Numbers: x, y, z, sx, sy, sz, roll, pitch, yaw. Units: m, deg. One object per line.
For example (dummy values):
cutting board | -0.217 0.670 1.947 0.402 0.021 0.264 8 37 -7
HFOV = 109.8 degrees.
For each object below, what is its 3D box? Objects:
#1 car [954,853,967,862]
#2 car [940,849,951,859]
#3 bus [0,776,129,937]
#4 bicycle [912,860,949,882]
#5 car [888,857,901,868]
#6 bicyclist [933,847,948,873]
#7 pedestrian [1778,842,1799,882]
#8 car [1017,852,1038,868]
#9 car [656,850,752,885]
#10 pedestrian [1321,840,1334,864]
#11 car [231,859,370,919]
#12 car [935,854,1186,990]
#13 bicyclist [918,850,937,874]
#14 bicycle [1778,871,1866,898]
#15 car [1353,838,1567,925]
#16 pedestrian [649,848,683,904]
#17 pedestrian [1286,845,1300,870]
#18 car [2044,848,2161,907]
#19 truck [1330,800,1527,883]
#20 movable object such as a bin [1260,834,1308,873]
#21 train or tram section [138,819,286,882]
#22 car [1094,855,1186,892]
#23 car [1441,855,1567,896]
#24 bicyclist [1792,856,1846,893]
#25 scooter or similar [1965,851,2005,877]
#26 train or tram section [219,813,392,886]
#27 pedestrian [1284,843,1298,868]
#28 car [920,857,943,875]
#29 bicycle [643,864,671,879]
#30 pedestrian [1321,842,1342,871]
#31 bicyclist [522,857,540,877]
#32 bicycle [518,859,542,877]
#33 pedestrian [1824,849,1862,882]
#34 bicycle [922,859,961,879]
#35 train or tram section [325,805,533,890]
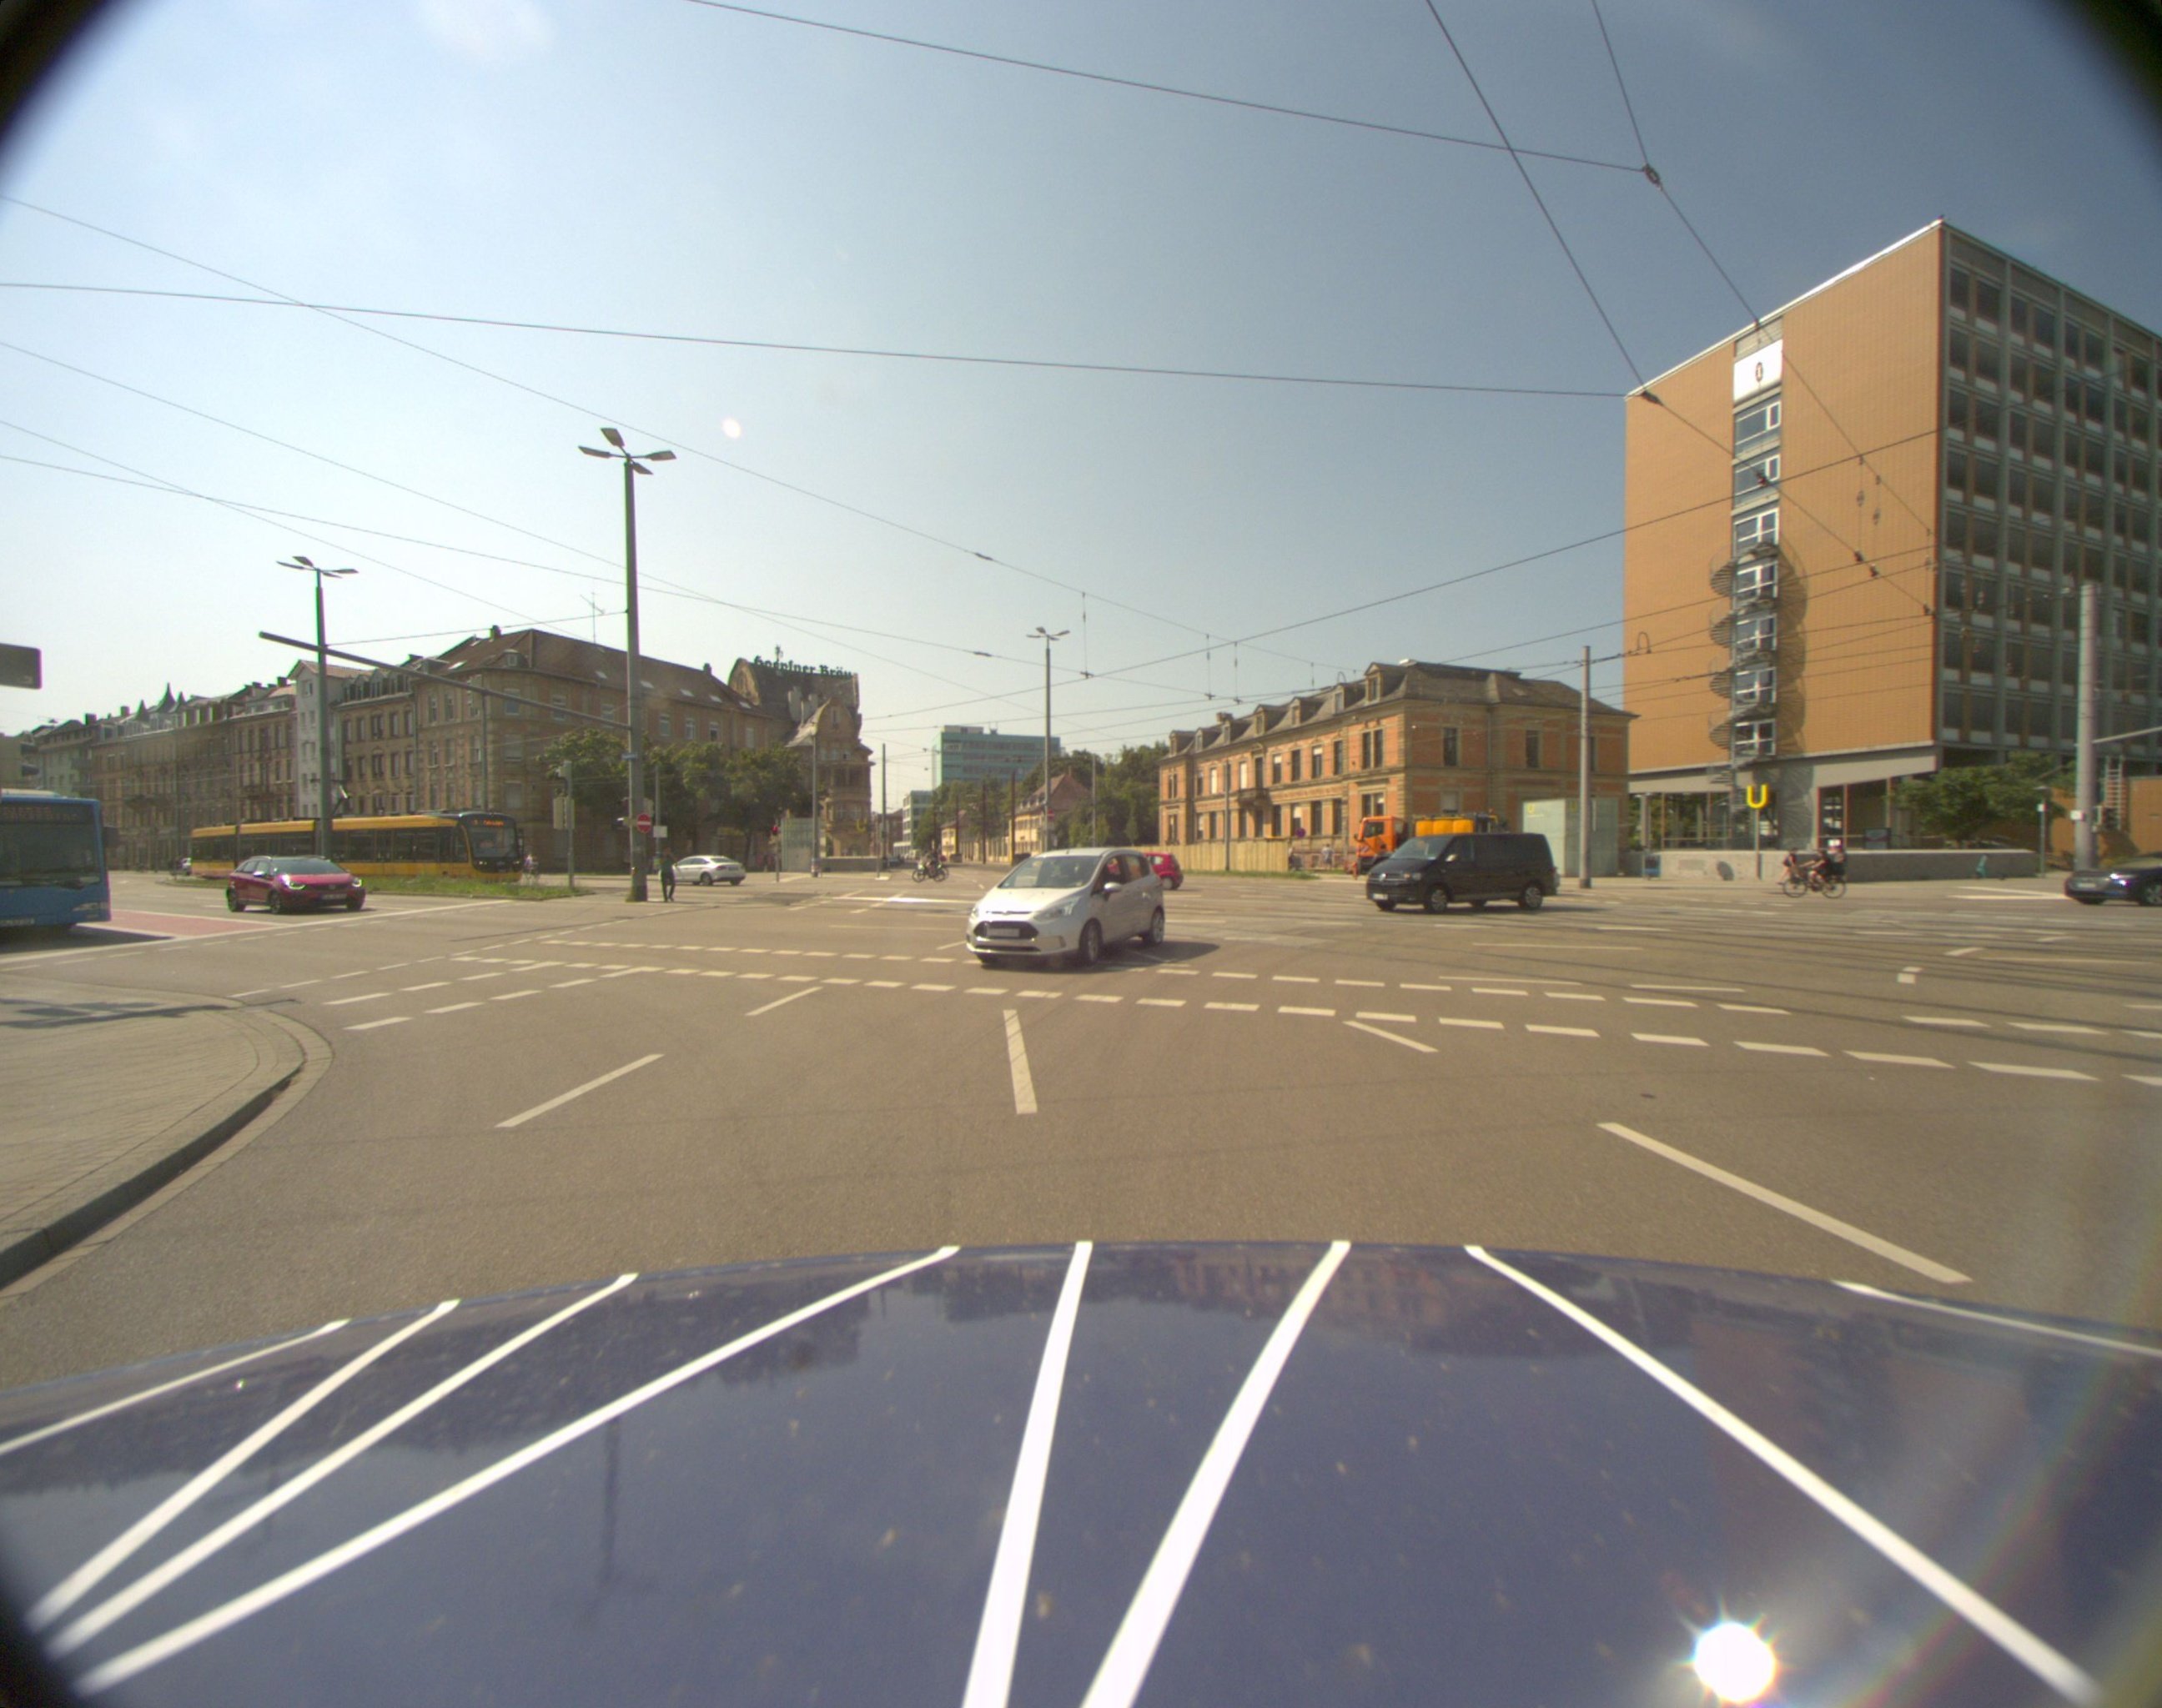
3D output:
car | -22.607 0.626 142.511 2.001 1.673 3.995 0 -1 -16
car | -28.471 -0.016 159.376 2.001 1.892 3.995 0 -1 -16
bus | -25.810 0.078 17.306 12.050 3.046 2.739 0 0 27
bicycle | -7.783 0.856 39.361 1.855 1.105 0.712 0 1 -7
car | -24.971 1.168 101.696 1.376 1.389 3.251 0 -1 -21
bicyclist | -7.828 0.330 42.404 0.643 1.472 0.658 1 1 6
pedestrian | 30.506 0.360 32.784 0.456 1.709 0.561 -1 -1 20
car | -6.840 0.798 97.045 2.001 2.001 3.996 0 -1 -13
car | -18.470 0.646 37.196 4.591 1.609 1.775 0 1 27
pedestrian | 16.948 -0.155 52.225 0.684 1.662 0.686 0 1 40
car | -21.655 0.908 21.065 3.761 1.464 1.632 0 2 28
car | -0.065 0.822 11.422 1.688 1.586 4.369 0 1 31
bicyclist | -7.944 0.413 39.387 0.864 1.227 1.101 0 1 -7
bicycle | 25.916 1.070 26.618 2.166 0.894 0.642 0 1 16
car | 9.481 0.587 19.048 4.889 1.920 1.897 -1 2 -19
pedestrian | -12.616 0.665 23.130 0.806 1.677 0.718 2 -1 -24
pedestrian | 14.487 0.235 51.852 0.684 1.662 0.686 0 1 40
car | 31.429 0.647 21.662 4.690 1.631 2.002 0 1 14
truck | 14.941 -0.385 32.944 7.171 3.209 3.049 -2 -2 38
movable object such as a bin | 14.712 -0.052 55.267 1.818 2.656 4.452 -1 1 -8
train or tram section | -52.739 -0.193 45.990 12.185 3.540 2.600 0 1 25
car | 2.319 0.739 29.749 3.352 1.400 1.519 0 0 15
car | 14.321 0.708 25.903 3.501 1.331 1.519 0 0 16
bicyclist | 25.922 0.699 26.714 1.104 1.259 0.858 0 1 17
scooter or similar | 40.450 0.454 34.000 1.144 1.150 0.443 0 1 8
train or tram section | -41.871 -0.209 40.851 12.185 3.540 2.600 0 1 25
pedestrian | 14.342 0.101 51.897 0.684 1.662 0.686 0 1 40
car | -11.472 0.916 58.244 1.588 1.280 3.723 0 0 -13
bicycle | -28.943 1.167 51.831 0.461 0.952 1.791 0 0 20
pedestrian | 15.728 0.127 47.694 1.036 1.803 0.686 0 1 40
bicyclist | -35.185 0.838 48.604 0.643 1.246 0.659 0 1 16
bicycle | -35.449 0.887 48.862 1.639 1.105 0.442 0 1 22
pedestrian | 32.873 0.489 32.798 0.848 1.386 0.786 -1 1 -5
bicycle | -7.779 0.814 42.414 2.125 1.105 0.441 0 1 6
train or tram section | -30.694 -0.259 35.565 12.185 3.540 2.600 0 1 25
